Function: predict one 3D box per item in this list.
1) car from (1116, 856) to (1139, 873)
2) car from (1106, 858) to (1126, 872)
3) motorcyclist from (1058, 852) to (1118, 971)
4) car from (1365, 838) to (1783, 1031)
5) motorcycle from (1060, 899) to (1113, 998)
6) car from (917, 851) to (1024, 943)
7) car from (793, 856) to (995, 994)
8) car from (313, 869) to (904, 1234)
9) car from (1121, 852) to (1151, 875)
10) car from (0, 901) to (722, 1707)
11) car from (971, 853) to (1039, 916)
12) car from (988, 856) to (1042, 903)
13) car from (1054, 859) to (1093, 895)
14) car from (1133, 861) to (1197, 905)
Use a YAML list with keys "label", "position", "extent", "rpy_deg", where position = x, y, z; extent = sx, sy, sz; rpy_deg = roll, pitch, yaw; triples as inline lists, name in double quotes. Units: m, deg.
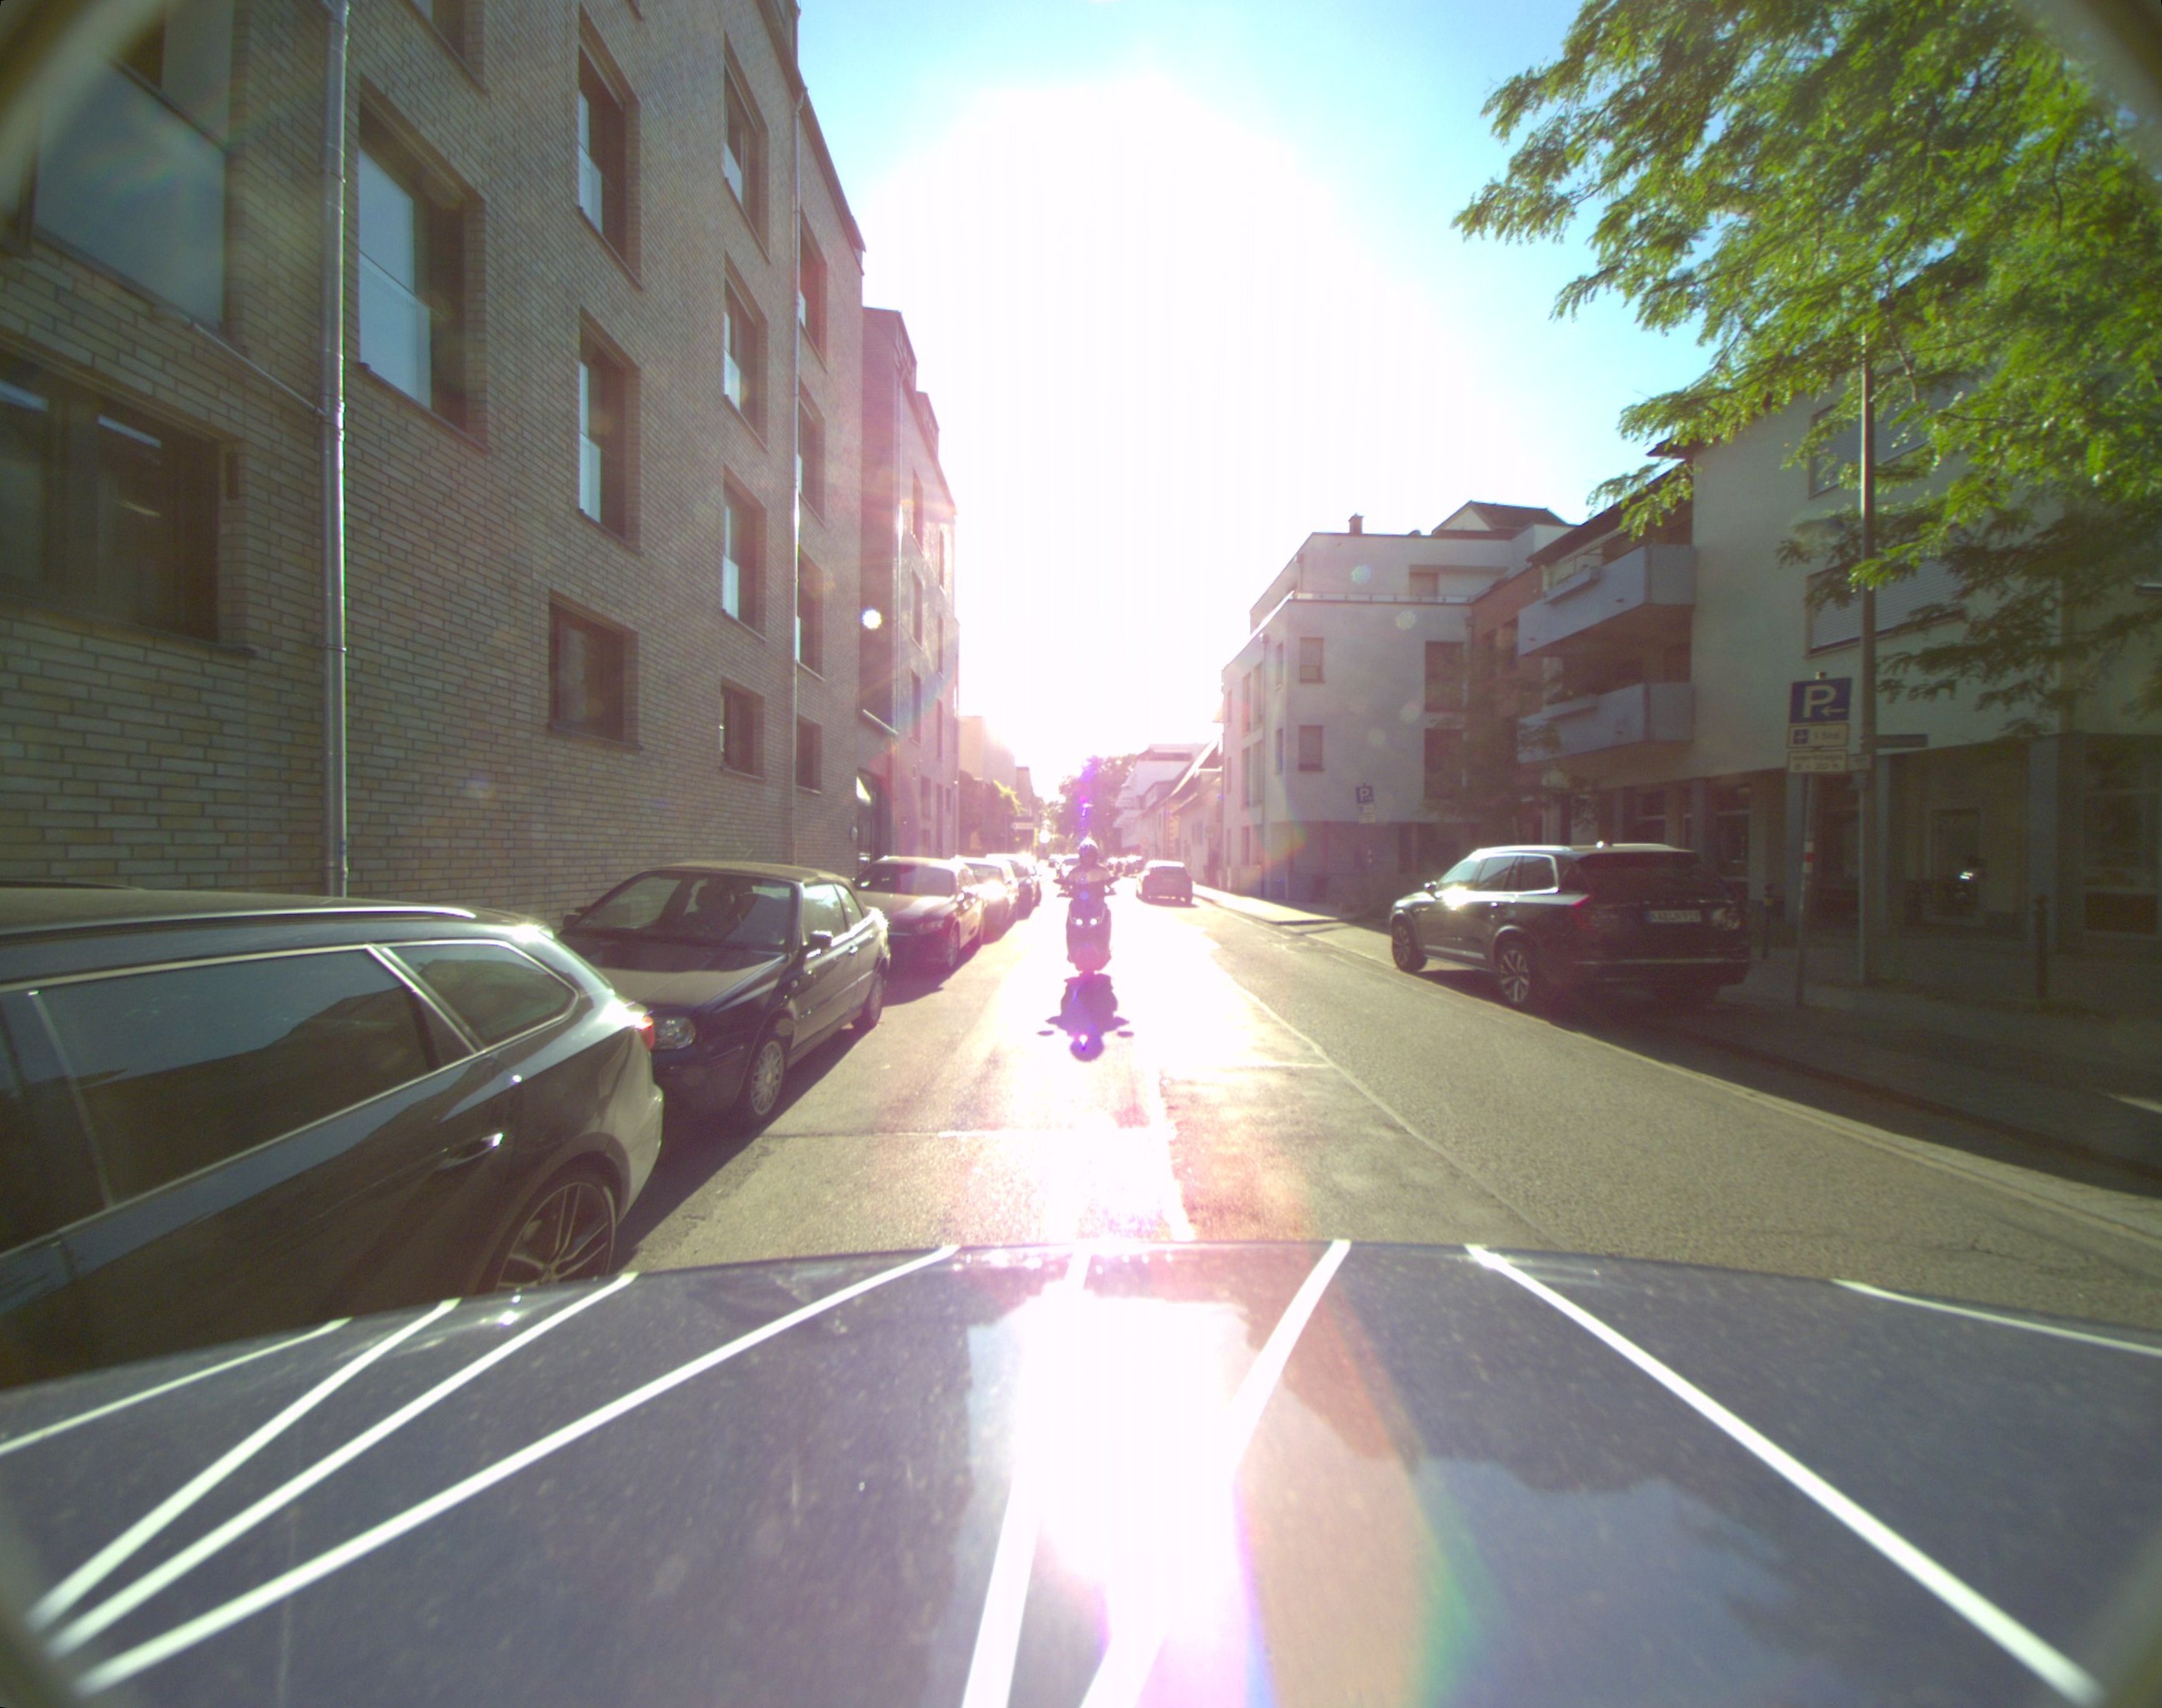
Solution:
- label: "car"
  position: [4.442, 0.971, 72.904]
  extent: [1.999, 1.613, 3.999]
  rpy_deg: [0, 0, 0]
- label: "car"
  position: [3.820, 1.190, 83.075]
  extent: [1.999, 1.458, 3.999]
  rpy_deg: [0, 0, 0]
- label: "motorcyclist"
  position: [0.088, 0.685, 9.461]
  extent: [0.717, 1.424, 0.746]
  rpy_deg: [0, 1, 1]
- label: "car"
  position: [5.495, 0.739, 9.546]
  extent: [1.936, 1.695, 5.100]
  rpy_deg: [-2, 0, 1]
- label: "motorcycle"
  position: [0.077, 1.119, 9.499]
  extent: [0.598, 1.004, 1.821]
  rpy_deg: [0, 0, 1]
- label: "car"
  position: [-2.249, 0.807, 16.667]
  extent: [1.671, 1.723, 4.838]
  rpy_deg: [0, 0, 0]
- label: "car"
  position: [-2.489, 0.850, 11.358]
  extent: [1.729, 1.520, 4.626]
  rpy_deg: [3, 0, 1]
- label: "car"
  position: [-2.595, 0.929, 5.500]
  extent: [1.668, 1.507, 4.218]
  rpy_deg: [2, 0, -1]
- label: "car"
  position: [4.600, 0.770, 64.233]
  extent: [1.999, 1.619, 3.999]
  rpy_deg: [-7, 0, 0]
- label: "car"
  position: [-2.336, 0.950, 0.857]
  extent: [1.701, 1.459, 4.719]
  rpy_deg: [1, 0, -2]
- label: "car"
  position: [-2.089, 0.797, 21.916]
  extent: [1.655, 1.582, 4.341]
  rpy_deg: [2, 0, -2]
- label: "car"
  position: [-2.215, 0.822, 26.383]
  extent: [1.732, 1.515, 3.653]
  rpy_deg: [0, 0, -3]
- label: "car"
  position: [-0.371, 1.059, 36.687]
  extent: [1.708, 1.569, 3.915]
  rpy_deg: [-2, 0, -1]
- label: "car"
  position: [3.004, 1.002, 28.033]
  extent: [1.812, 1.458, 3.999]
  rpy_deg: [0, 0, -2]
